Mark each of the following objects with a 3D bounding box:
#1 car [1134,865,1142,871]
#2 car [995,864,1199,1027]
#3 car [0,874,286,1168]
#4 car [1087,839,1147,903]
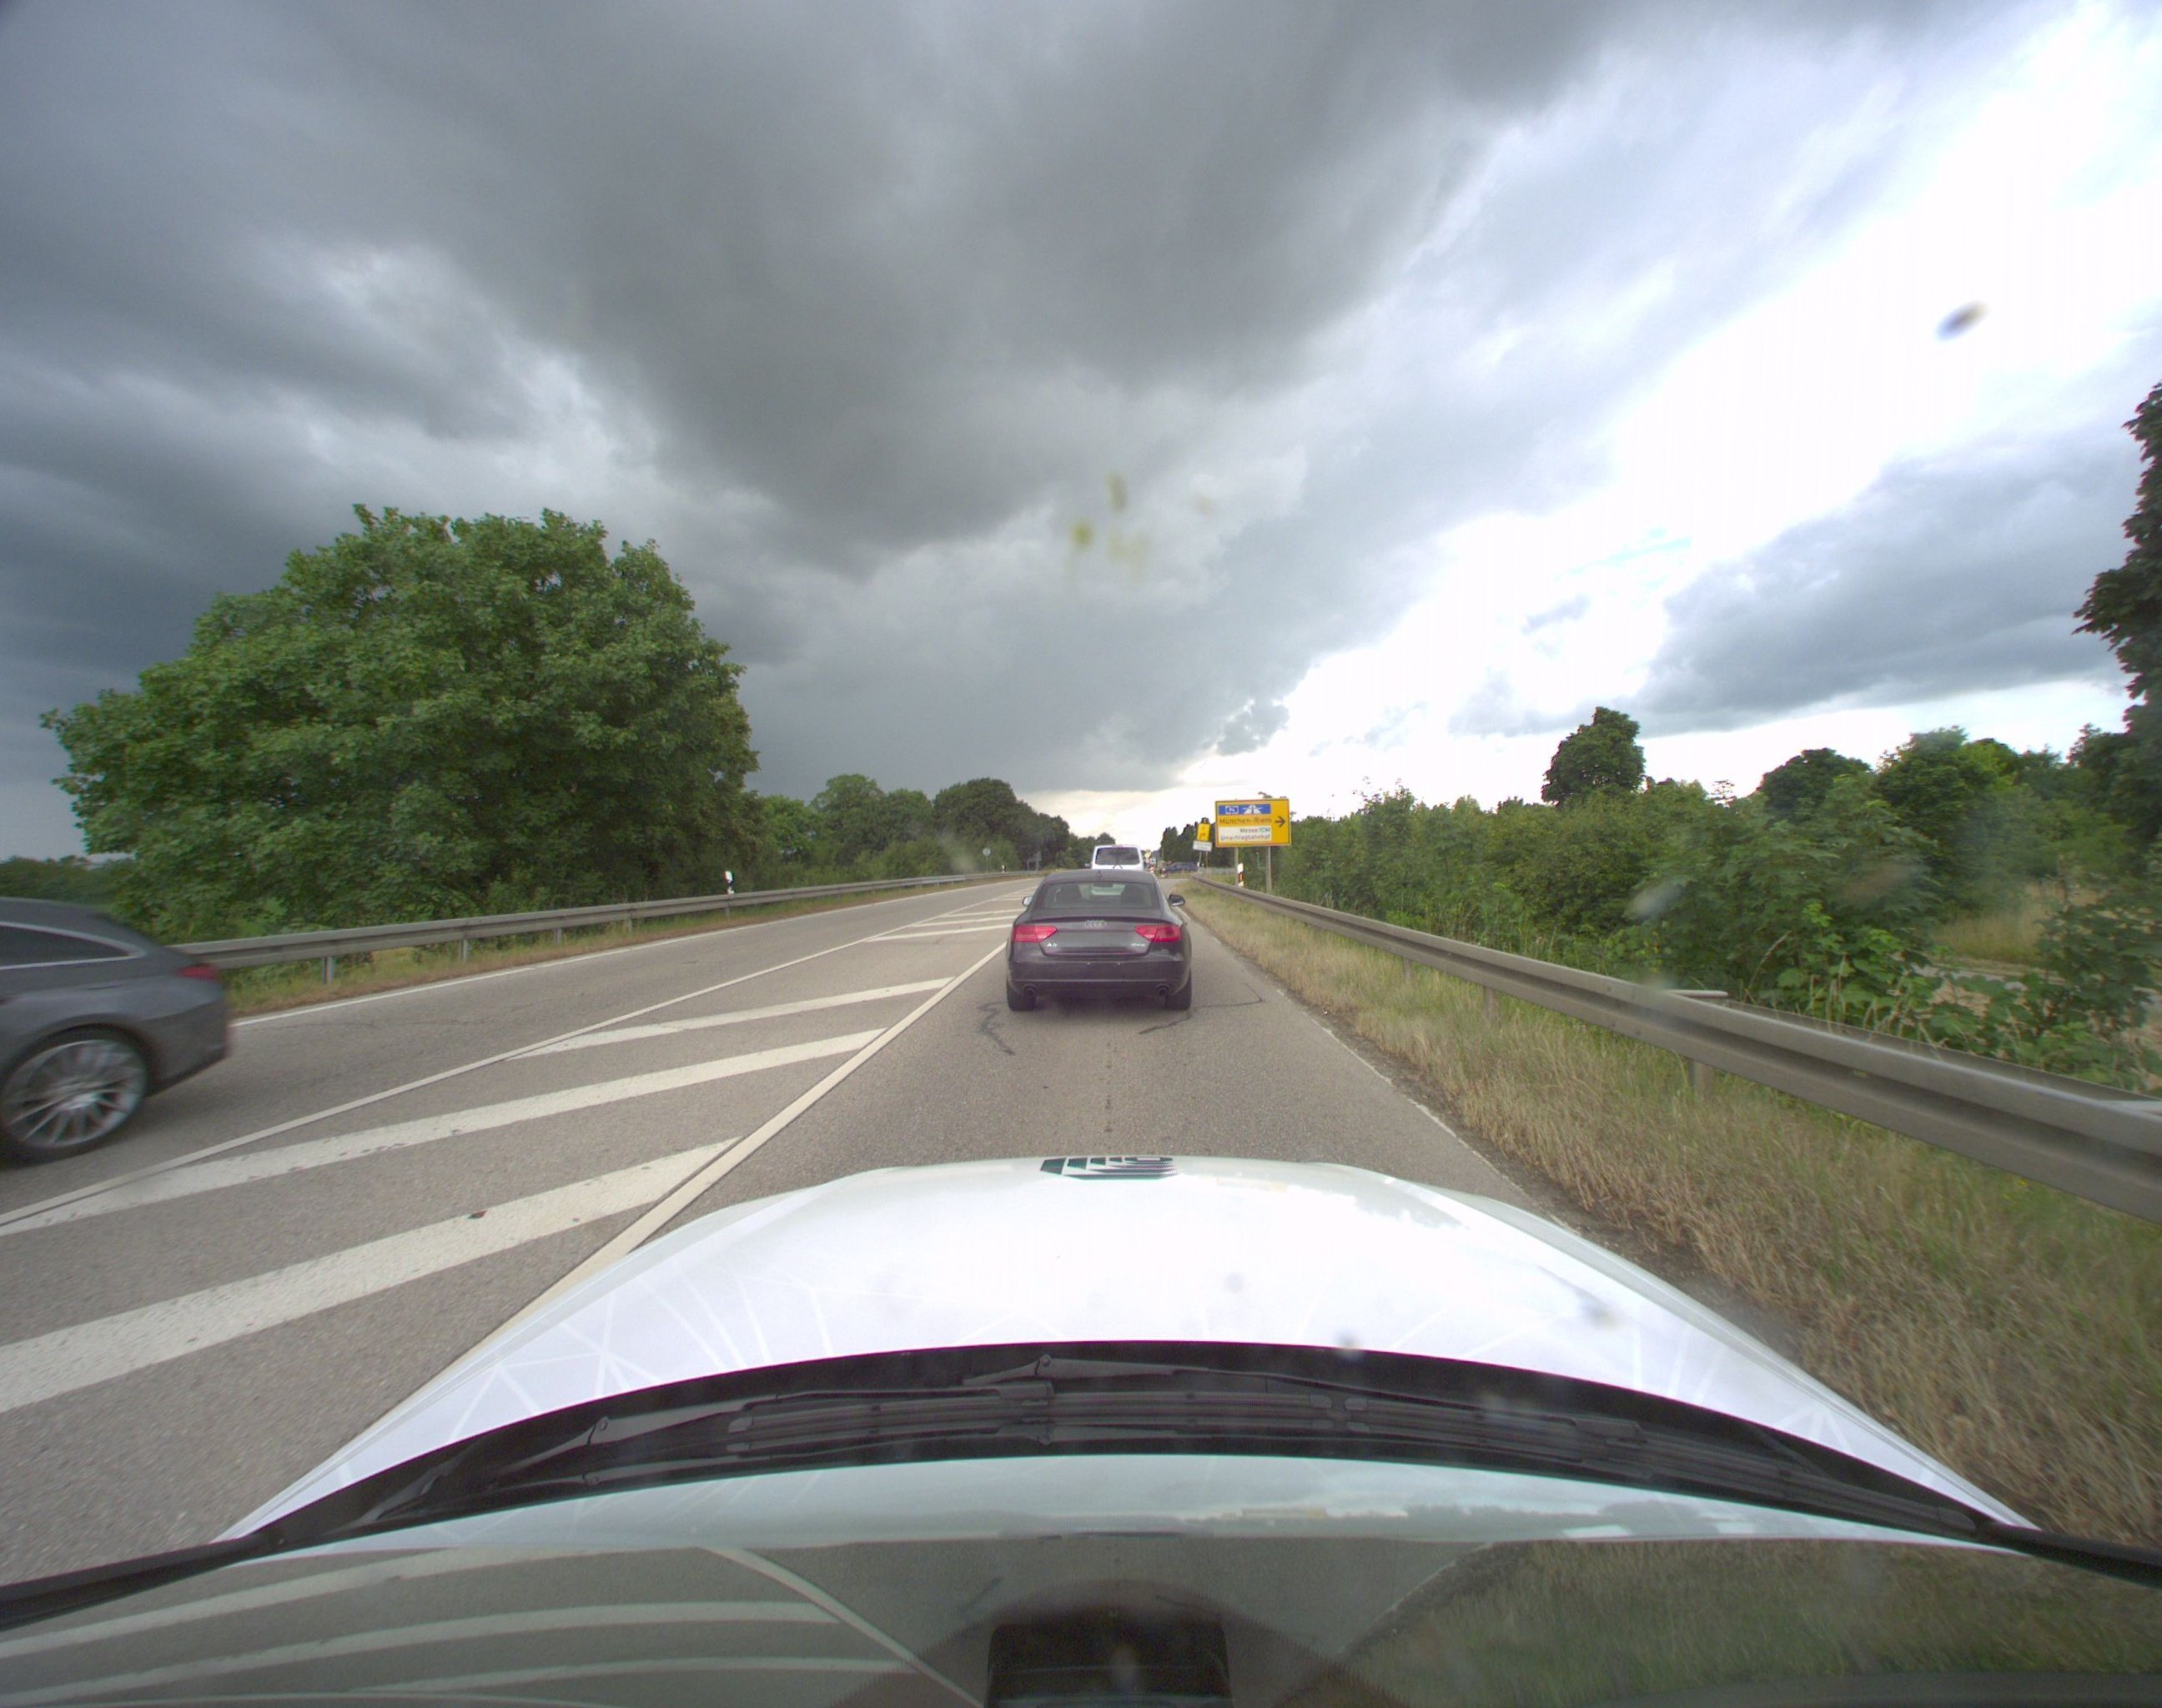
[{"bbox_3d":[14.820,3.549,212.223,1.728,1.454,4.001,0,0,1],"label":"car"},{"bbox_3d":[0.192,0.824,8.810,1.773,1.399,3.337,-1,-1,2],"label":"car"},{"bbox_3d":[-6.045,0.831,3.027,1.616,1.379,4.514,-1,0,2],"label":"car"},{"bbox_3d":[1.210,0.555,27.740,1.903,2.014,4.002,0,0,2],"label":"car"}]
